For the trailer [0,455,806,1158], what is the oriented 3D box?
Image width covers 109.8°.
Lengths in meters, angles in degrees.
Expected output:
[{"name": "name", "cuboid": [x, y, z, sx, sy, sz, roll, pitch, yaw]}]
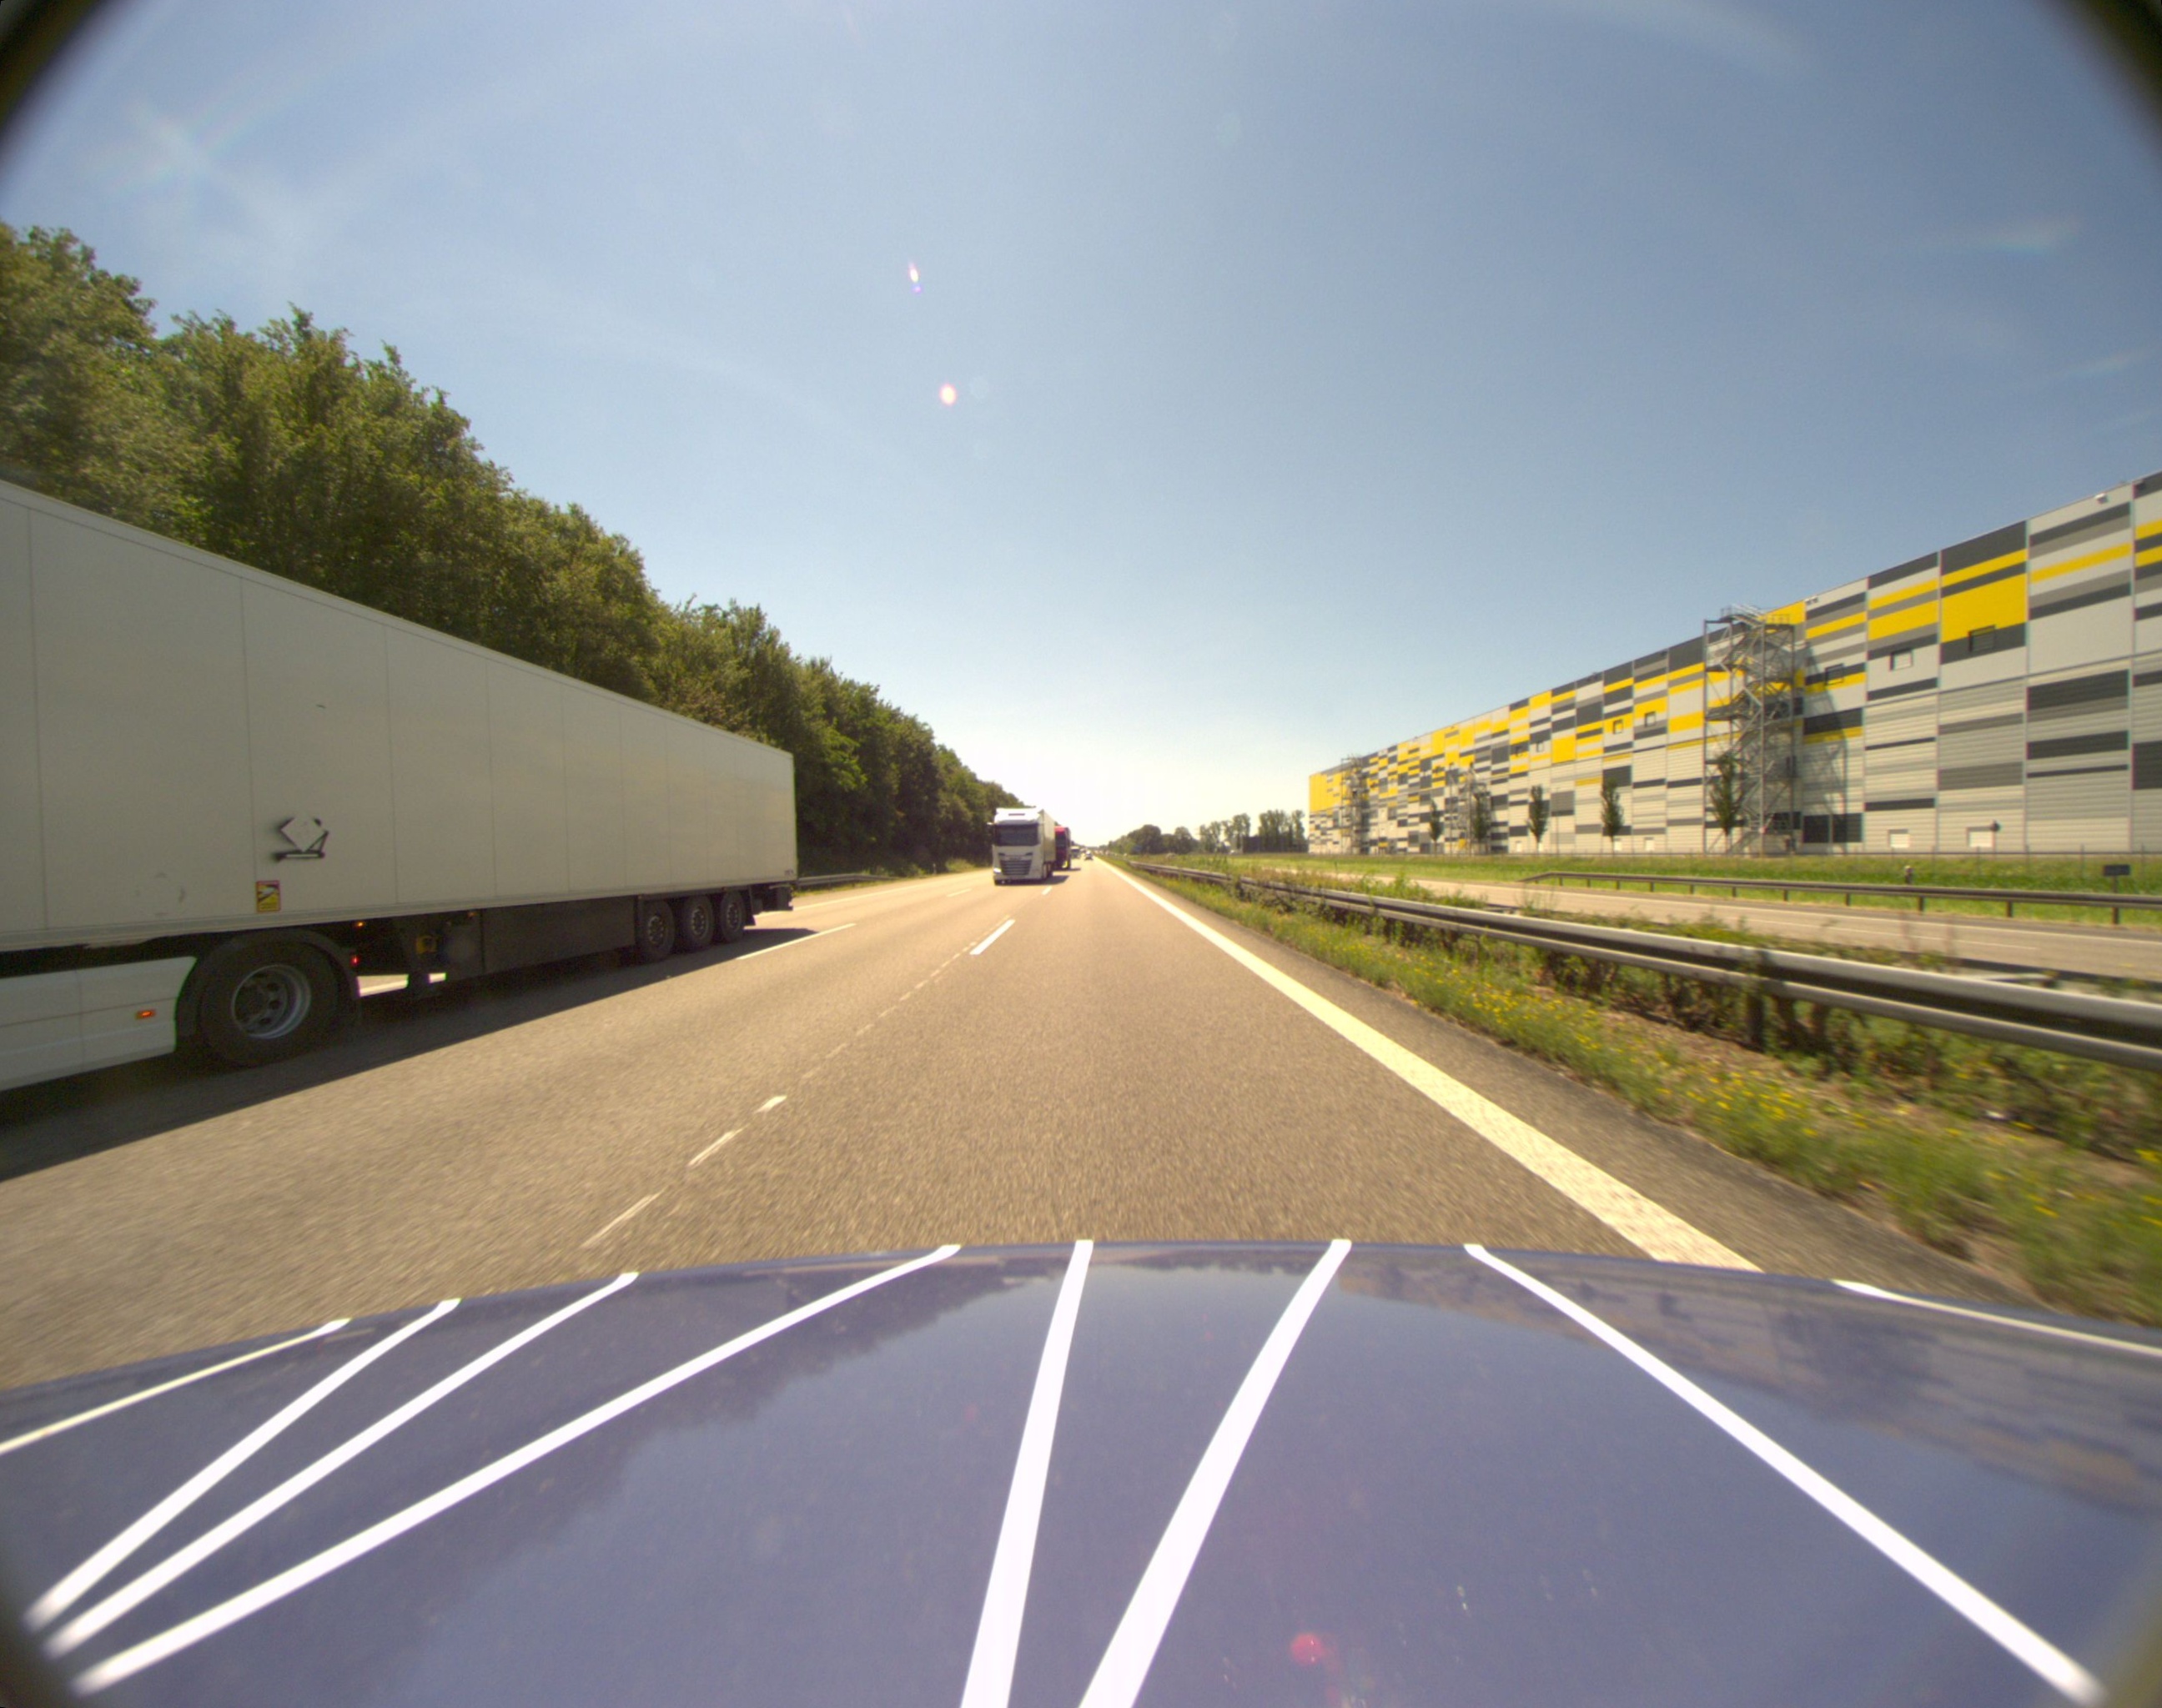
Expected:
[{"name": "trailer", "cuboid": [-7.976, -0.292, 10.722, 3.047, 4.200, 13.833, -2, 0, 0]}]

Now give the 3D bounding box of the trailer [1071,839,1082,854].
[{"name": "trailer", "cuboid": [-1.325, -2.175, 225.803, 3.005, 4.046, 13.834, -2, 0, 0]}]

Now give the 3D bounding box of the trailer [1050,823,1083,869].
[{"name": "trailer", "cuboid": [-1.489, -0.767, 76.565, 2.885, 4.046, 13.832, -2, 0, -1]}]

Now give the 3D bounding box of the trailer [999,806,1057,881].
[{"name": "trailer", "cuboid": [-3.154, -0.618, 48.911, 2.684, 4.046, 13.833, -2, 0, 0]}]

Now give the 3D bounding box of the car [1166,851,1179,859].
[{"name": "car", "cuboid": [15.621, 0.151, 130.137, 1.637, 1.419, 4.660, 1, 0, 0]}]

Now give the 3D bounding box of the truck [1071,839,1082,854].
[{"name": "truck", "cuboid": [-1.293, -2.163, 218.141, 2.999, 4.046, 5.770, -2, 1, 0]}]

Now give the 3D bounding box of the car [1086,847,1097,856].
[{"name": "car", "cuboid": [2.189, -0.512, 159.882, 2.073, 1.959, 5.109, 0, 0, -1]}]

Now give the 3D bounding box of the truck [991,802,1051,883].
[{"name": "truck", "cuboid": [-3.146, -0.602, 41.536, 2.684, 4.046, 6.048, -2, 1, 0]}]

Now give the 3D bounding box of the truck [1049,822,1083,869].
[{"name": "truck", "cuboid": [-1.347, -0.736, 69.101, 2.870, 4.046, 5.770, -2, 1, -1]}]

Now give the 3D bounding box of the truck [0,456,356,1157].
[{"name": "truck", "cuboid": [-7.970, -0.251, 3.618, 3.055, 4.191, 6.048, -2, 1, 0]}]
